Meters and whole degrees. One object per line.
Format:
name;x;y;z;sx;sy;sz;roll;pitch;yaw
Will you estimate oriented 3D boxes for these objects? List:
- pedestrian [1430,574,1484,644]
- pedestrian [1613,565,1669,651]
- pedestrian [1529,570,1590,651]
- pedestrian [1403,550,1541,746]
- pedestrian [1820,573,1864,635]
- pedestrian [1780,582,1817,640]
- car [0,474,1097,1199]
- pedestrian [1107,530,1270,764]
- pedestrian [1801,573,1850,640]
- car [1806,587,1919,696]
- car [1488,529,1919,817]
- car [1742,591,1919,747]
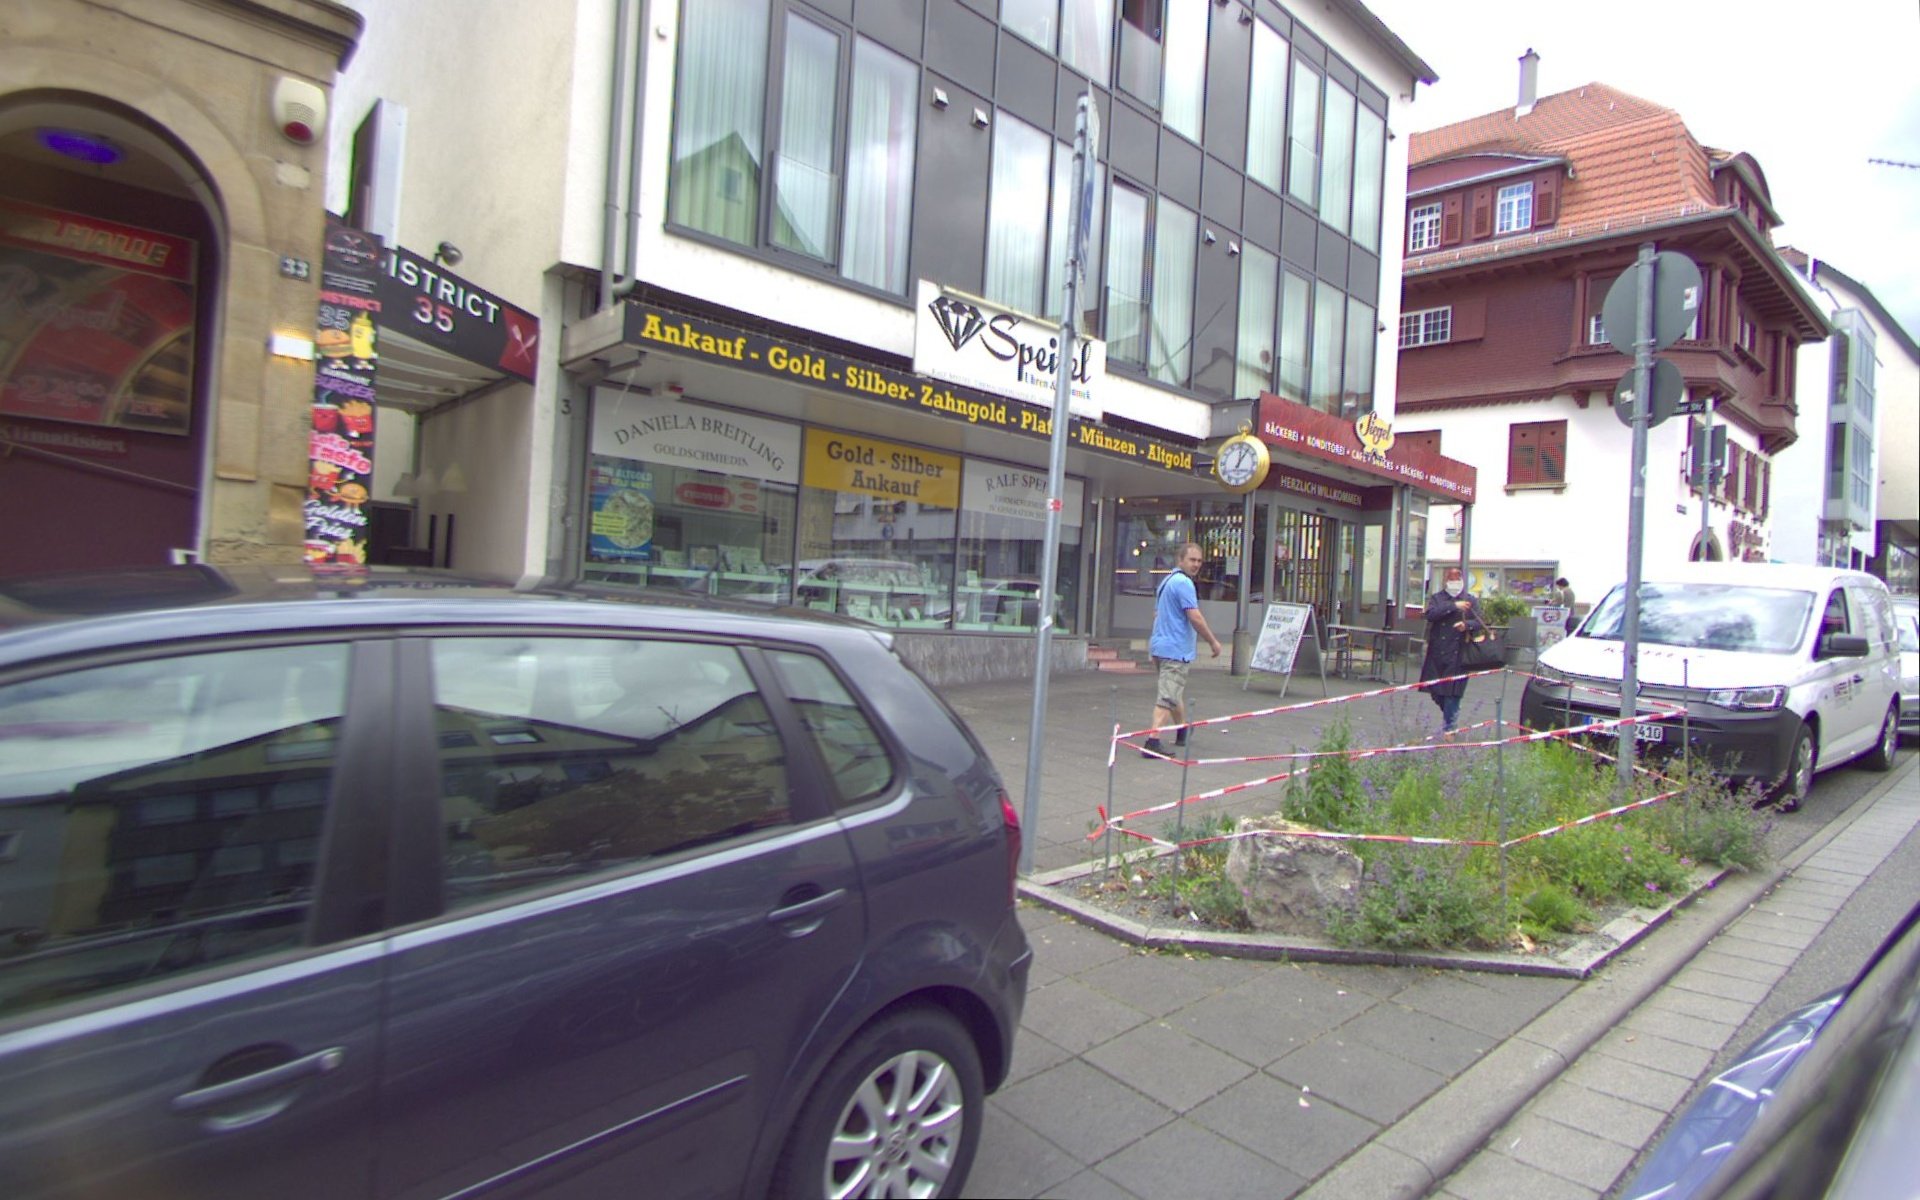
pedestrian;11.457;0.197;23.330;0.792;1.549;0.727;0;4;-35
pedestrian;14.639;0.156;21.766;0.803;1.791;0.776;0;1;-39
pedestrian;12.849;0.210;21.693;0.853;1.665;0.775;0;2;-35
pedestrian;4.681;0.403;9.274;0.786;1.686;0.827;0;1;-35
pedestrian;25.688;0.116;29.491;0.612;1.789;0.704;1;1;-15
pedestrian;24.038;0.302;29.012;0.689;1.633;0.625;0;1;-36
car;-1.669;0.579;1.723;3.810;1.527;1.750;-1;3;-44
pedestrian;1.853;0.334;8.205;1.034;1.748;0.798;0;2;-41
pedestrian;24.745;0.178;28.940;0.690;1.880;0.780;1;1;2
car;15.133;0.592;16.210;3.884;1.575;1.807;0;1;-41
car;6.535;0.437;8.571;4.645;1.822;1.882;0;1;-38
car;10.517;0.668;11.720;3.933;1.485;1.705;0;2;-44
